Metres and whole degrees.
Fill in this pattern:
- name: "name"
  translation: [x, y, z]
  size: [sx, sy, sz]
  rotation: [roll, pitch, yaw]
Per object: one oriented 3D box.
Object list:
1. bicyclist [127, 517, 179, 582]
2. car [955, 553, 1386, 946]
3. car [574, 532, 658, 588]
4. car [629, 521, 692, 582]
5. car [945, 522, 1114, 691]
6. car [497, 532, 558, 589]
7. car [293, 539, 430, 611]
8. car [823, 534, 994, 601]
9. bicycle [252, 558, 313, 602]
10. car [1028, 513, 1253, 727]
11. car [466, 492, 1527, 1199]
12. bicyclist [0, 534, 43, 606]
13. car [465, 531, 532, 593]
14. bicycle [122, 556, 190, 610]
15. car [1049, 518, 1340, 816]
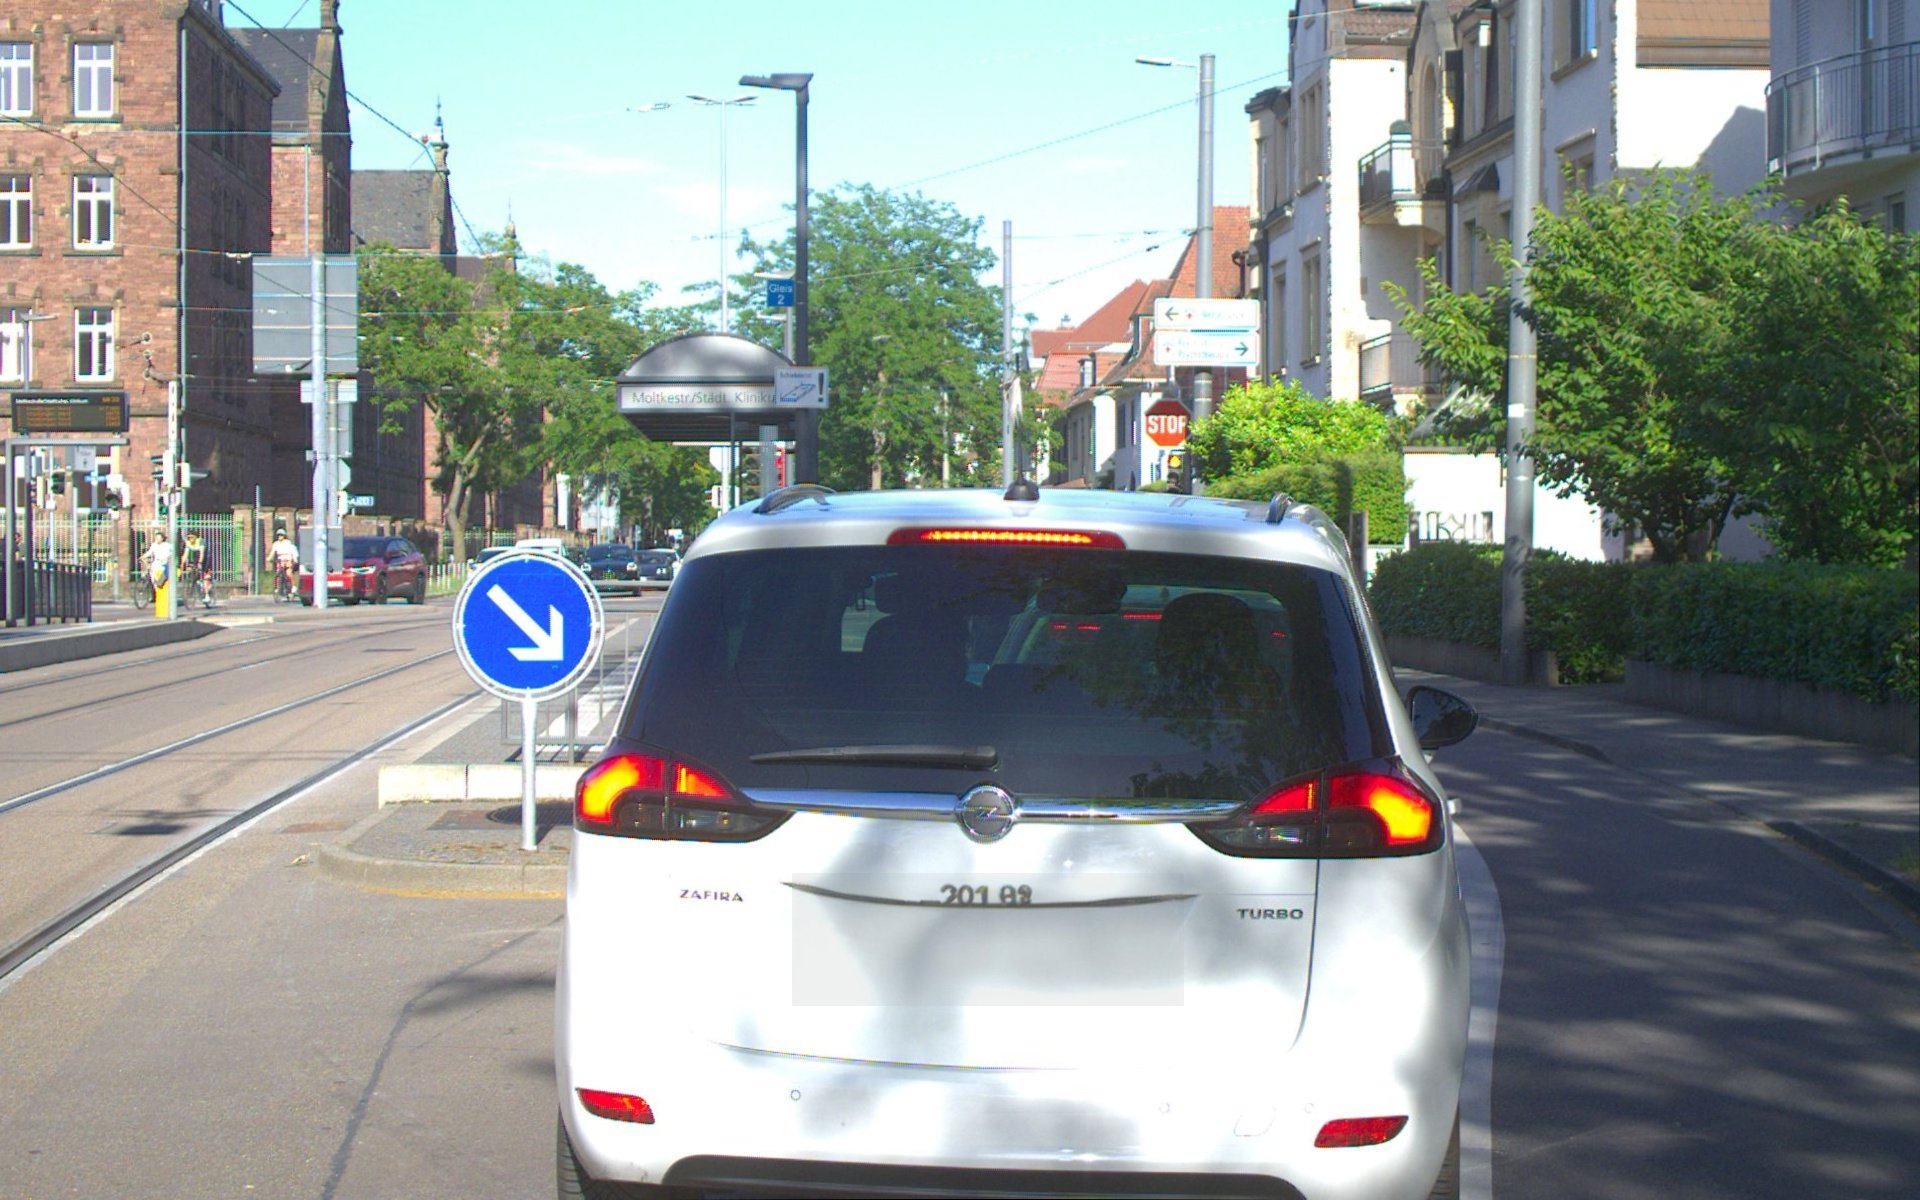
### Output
- name: "bicyclist"
  translation: [-18.430, -1.144, 78.535]
  size: [0.757, 1.466, 1.190]
  rotation: [0, 0, 9]
- name: "car"
  translation: [0.951, 0.532, 14.794]
  size: [1.569, 1.396, 3.783]
  rotation: [2, 1, 5]
- name: "car"
  translation: [-9.937, -1.174, 99.516]
  size: [1.993, 1.590, 4.000]
  rotation: [0, 1, 0]
- name: "car"
  translation: [-10.001, -1.623, 115.027]
  size: [1.993, 2.007, 4.001]
  rotation: [0, 1, -4]
- name: "car"
  translation: [0.681, 0.027, 36.247]
  size: [1.596, 1.629, 3.901]
  rotation: [2, 1, -1]
- name: "car"
  translation: [-13.851, -1.278, 110.184]
  size: [1.826, 1.782, 4.256]
  rotation: [0, 1, -6]
- name: "car"
  translation: [-13.628, -0.595, 78.524]
  size: [1.818, 1.601, 4.358]
  rotation: [0, 1, 8]
- name: "car"
  translation: [-1.291, -0.827, 86.097]
  size: [3.989, 1.624, 1.671]
  rotation: [0, 1, 14]
- name: "bicycle"
  translation: [-17.006, -0.510, 86.328]
  size: [0.669, 1.068, 2.014]
  rotation: [2, 1, 14]
- name: "car"
  translation: [1.468, 0.123, 29.179]
  size: [1.596, 1.629, 3.901]
  rotation: [2, 1, -1]
- name: "car"
  translation: [0.223, 0.570, 8.103]
  size: [1.878, 1.579, 3.999]
  rotation: [1, 1, 5]
- name: "bicyclist"
  translation: [-19.234, -0.617, 70.389]
  size: [0.653, 1.454, 1.152]
  rotation: [0, 1, -2]
- name: "car"
  translation: [-13.639, -1.132, 101.745]
  size: [1.698, 1.803, 4.001]
  rotation: [0, 1, -4]
- name: "bicycle"
  translation: [-18.401, -0.377, 78.699]
  size: [0.815, 1.194, 1.952]
  rotation: [-1, -1, 9]
- name: "car"
  translation: [1.469, 0.334, 21.044]
  size: [1.569, 1.609, 3.783]
  rotation: [2, 1, 5]
